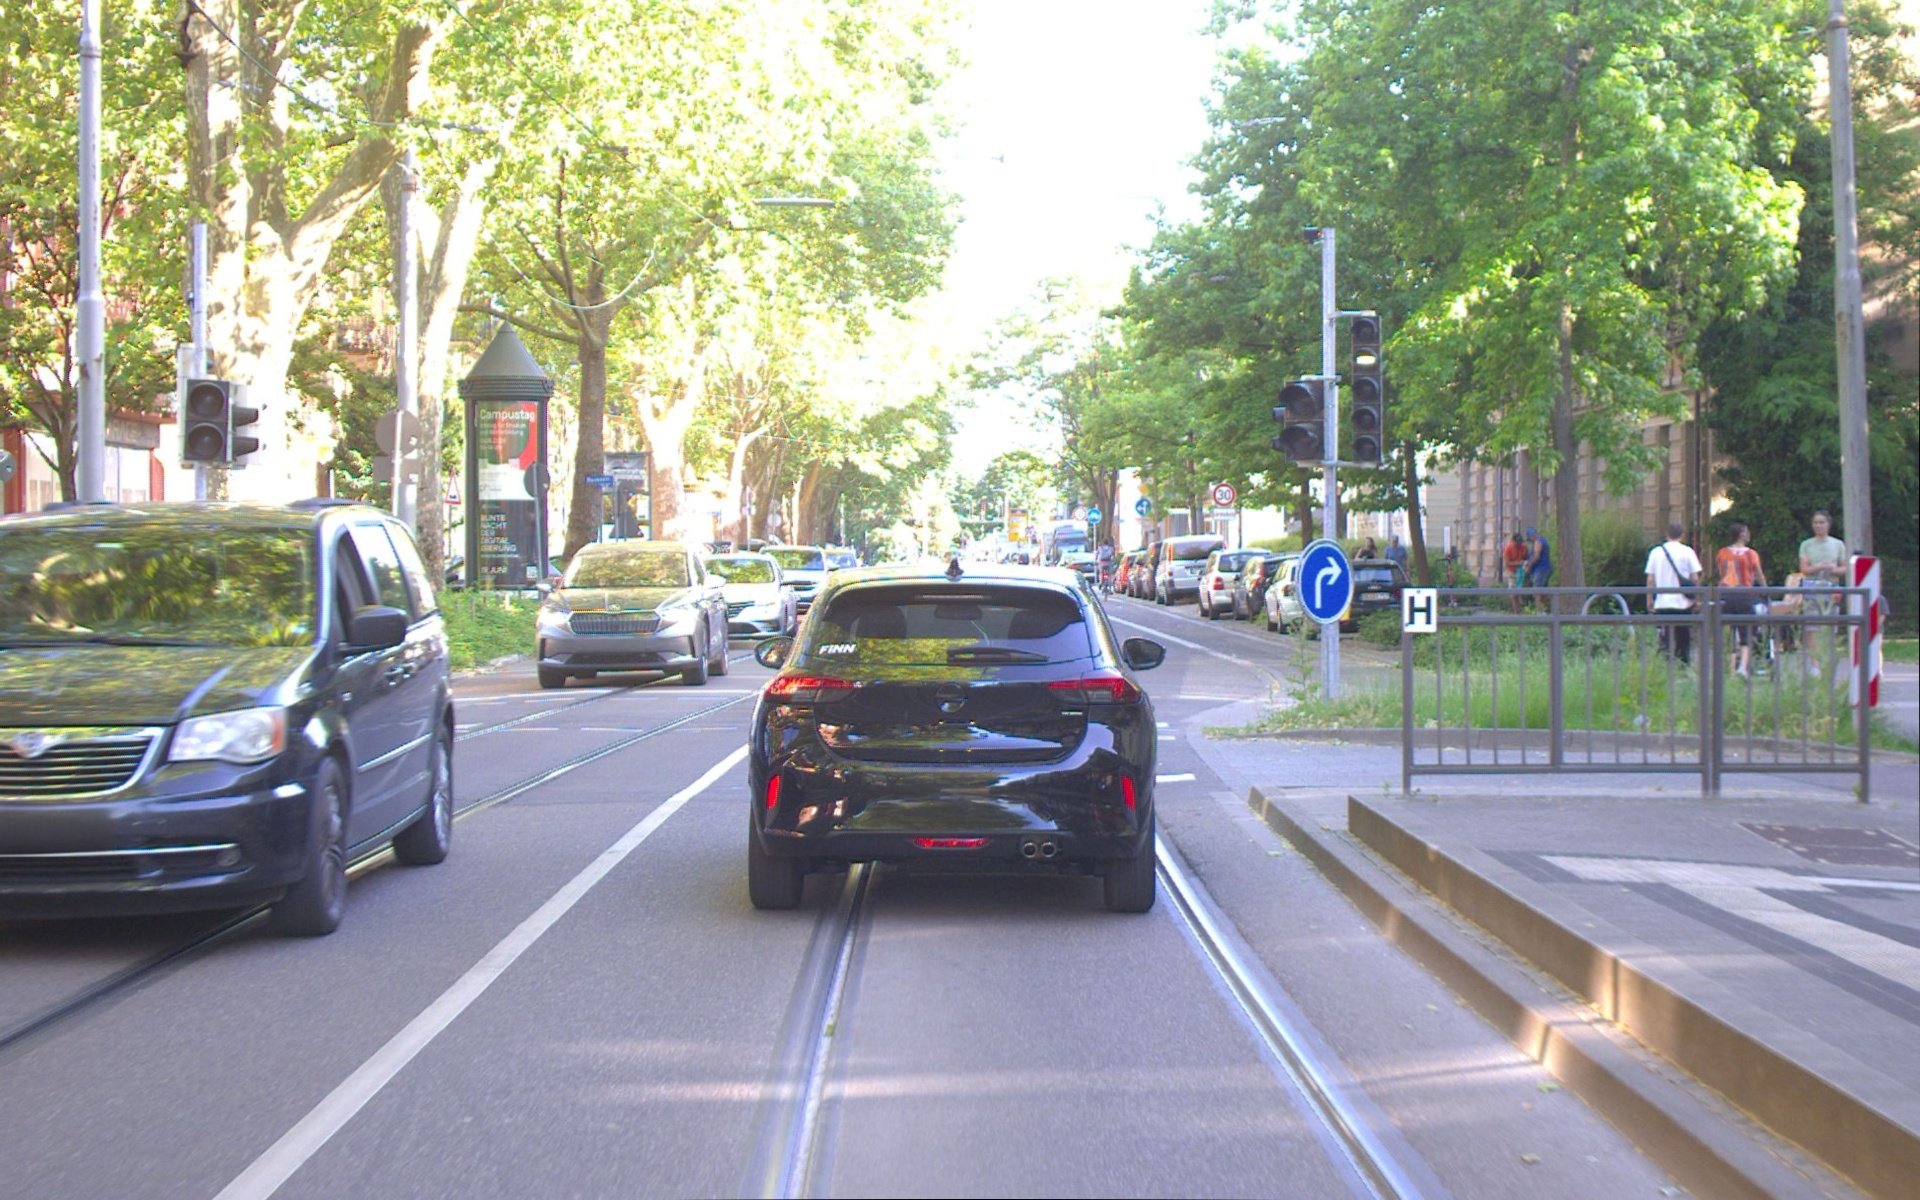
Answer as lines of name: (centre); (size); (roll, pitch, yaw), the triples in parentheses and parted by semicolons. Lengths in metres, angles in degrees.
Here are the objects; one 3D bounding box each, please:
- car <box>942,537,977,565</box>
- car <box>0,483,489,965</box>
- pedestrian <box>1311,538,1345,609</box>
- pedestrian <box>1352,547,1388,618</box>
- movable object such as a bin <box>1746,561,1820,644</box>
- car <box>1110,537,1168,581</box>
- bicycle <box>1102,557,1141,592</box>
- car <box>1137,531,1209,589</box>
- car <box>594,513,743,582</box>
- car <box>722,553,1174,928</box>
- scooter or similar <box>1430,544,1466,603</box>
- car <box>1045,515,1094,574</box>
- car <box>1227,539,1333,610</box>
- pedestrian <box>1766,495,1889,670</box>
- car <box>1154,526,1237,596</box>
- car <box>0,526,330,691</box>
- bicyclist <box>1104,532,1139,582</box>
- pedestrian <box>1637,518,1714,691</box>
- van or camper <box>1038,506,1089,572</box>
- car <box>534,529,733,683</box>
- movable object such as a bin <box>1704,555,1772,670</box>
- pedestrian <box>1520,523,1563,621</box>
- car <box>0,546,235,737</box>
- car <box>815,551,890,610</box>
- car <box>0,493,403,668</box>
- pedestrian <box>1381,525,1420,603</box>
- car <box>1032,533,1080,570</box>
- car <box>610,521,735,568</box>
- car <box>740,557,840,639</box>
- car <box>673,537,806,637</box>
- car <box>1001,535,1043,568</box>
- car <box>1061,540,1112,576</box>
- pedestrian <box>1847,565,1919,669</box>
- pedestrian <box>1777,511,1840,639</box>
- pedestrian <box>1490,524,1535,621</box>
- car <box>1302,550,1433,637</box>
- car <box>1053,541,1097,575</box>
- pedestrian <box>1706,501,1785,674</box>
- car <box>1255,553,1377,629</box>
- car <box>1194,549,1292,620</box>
car: (-0.043, -3.256, 228.246); (2.254, 1.834, 5.531); (-1, 1, -1)
car: (-3.376, 0.404, 14.891); (1.993, 1.710, 5.143); (1, 1, -1)
pedestrian: (8.915, -0.644, 83.236); (0.726, 1.687, 0.957); (1, 1, 2)
pedestrian: (9.898, -0.420, 82.978); (0.726, 1.703, 0.856); (1, 1, -2)
movable object such as a bin: (11.366, 0.030, 47.498); (0.665, 1.122, 0.957); (1, 1, -8)
car: (6.284, -1.454, 120.863); (1.702, 1.418, 3.978); (-3, 1, -1)
bicycle: (4.835, -0.772, 103.090); (0.968, 0.995, 2.583); (1, 1, -2)
car: (6.561, -1.239, 106.289); (1.885, 1.760, 4.678); (0, 1, -1)
car: (-9.973, -1.795, 117.970); (5.032, 2.251, 2.086); (1, 1, -3)
car: (-0.062, 0.530, 15.562); (1.763, 1.455, 3.950); (1, 1, 0)
scooter or similar: (10.446, -0.563, 73.682); (0.576, 1.242, 1.335); (1, 1, 1)
car: (5.231, -2.668, 164.324); (2.085, 2.762, 4.698); (-1, 1, -1)
car: (7.118, -0.574, 76.791); (1.884, 1.462, 4.594); (-2, 1, 0)
pedestrian: (9.470, -0.192, 37.547); (0.867, 1.878, 0.998); (1, 1, -18)
car: (6.619, -1.105, 97.187); (1.884, 1.845, 4.967); (-2, 1, -1)
car: (-8.824, 0.065, 35.961); (4.139, 1.641, 1.902); (1, 1, -2)
bicyclist: (4.834, -1.286, 103.060); (0.958, 1.494, 1.094); (1, 1, -2)
pedestrian: (7.541, 0.042, 36.271); (0.726, 1.787, 0.853); (-2, 1, 10)
van or camper: (5.135, -3.032, 170.885); (2.254, 3.205, 5.531); (-1, 1, -1)
car: (-3.665, 0.035, 39.244); (1.908, 1.632, 4.321); (-1, 1, -1)
movable object such as a bin: (8.454, 0.123, 37.398); (0.639, 1.198, 1.304); (-2, 1, 10)
pedestrian: (10.716, -0.525, 63.372); (0.598, 1.787, 0.728); (1, 1, -3)
car: (-8.330, 0.285, 27.408); (4.763, 1.455, 1.955); (1, 1, -4)
car: (-2.753, -0.511, 87.498); (1.660, 1.439, 3.474); (1, 1, -5)
car: (-8.638, -0.226, 38.288); (4.570, 1.828, 1.939); (1, 1, -2)
pedestrian: (10.187, -0.837, 79.455); (0.727, 1.787, 0.600); (1, 1, 23)
car: (4.962, -2.517, 178.091); (2.254, 1.834, 5.531); (-1, 1, -1)
car: (-10.095, -1.950, 120.940); (4.299, 1.601, 1.926); (1, 1, -3)
car: (-3.422, -0.068, 69.772); (1.815, 1.563, 4.116); (-1, 1, 0)
car: (-3.389, -0.223, 53.518); (1.775, 1.456, 4.204); (1, 1, 0)
car: (3.595, -2.824, 199.708); (2.254, 1.834, 5.531); (-1, 1, -1)
car: (5.392, -1.790, 147.035); (1.884, 1.429, 4.530); (-2, 1, -1)
pedestrian: (10.164, 0.180, 37.590); (0.674, 1.115, 0.660); (1, 1, -11)
pedestrian: (11.495, -0.336, 46.584); (0.617, 1.720, 0.554); (1, 1, -15)
pedestrian: (10.299, -0.520, 64.087); (0.599, 1.787, 0.727); (1, 1, 28)
car: (7.157, -0.137, 60.673); (1.672, 1.407, 3.843); (-2, 1, -2)
car: (5.257, -1.910, 157.130); (1.803, 1.429, 4.000); (-1, 0, -1)
pedestrian: (8.295, -0.141, 36.330); (0.726, 1.787, 0.967); (-2, 1, 10)
car: (6.956, -0.196, 67.493); (1.884, 1.363, 4.107); (-2, 1, -1)
car: (6.681, -0.390, 81.504); (1.884, 1.562, 4.242); (-2, 1, -1)
